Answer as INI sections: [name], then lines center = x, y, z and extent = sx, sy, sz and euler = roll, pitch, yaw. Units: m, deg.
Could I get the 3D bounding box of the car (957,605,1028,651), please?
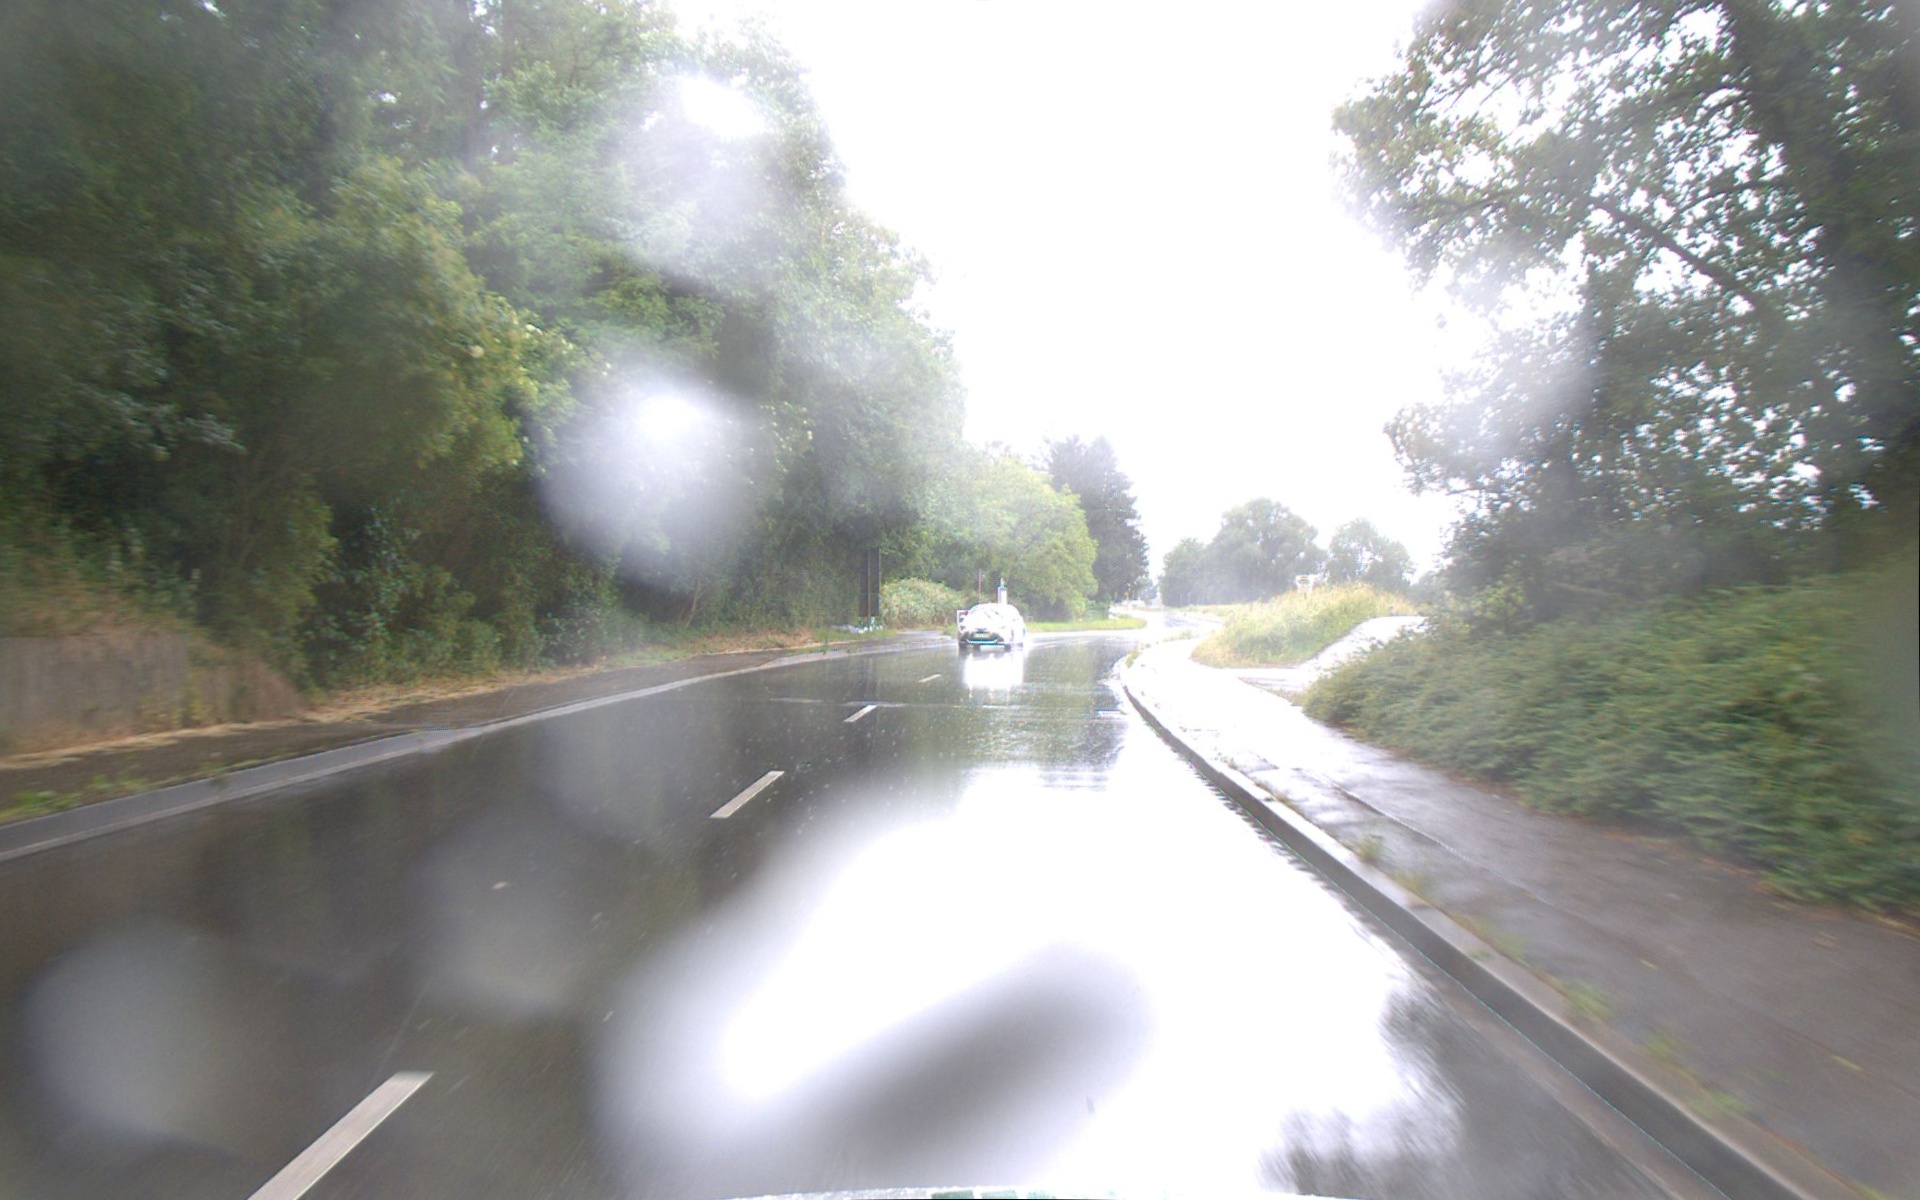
[car]
center = 1.130, 0.892, 54.936
extent = 1.748, 1.444, 4.637
euler = 1, 0, 9
